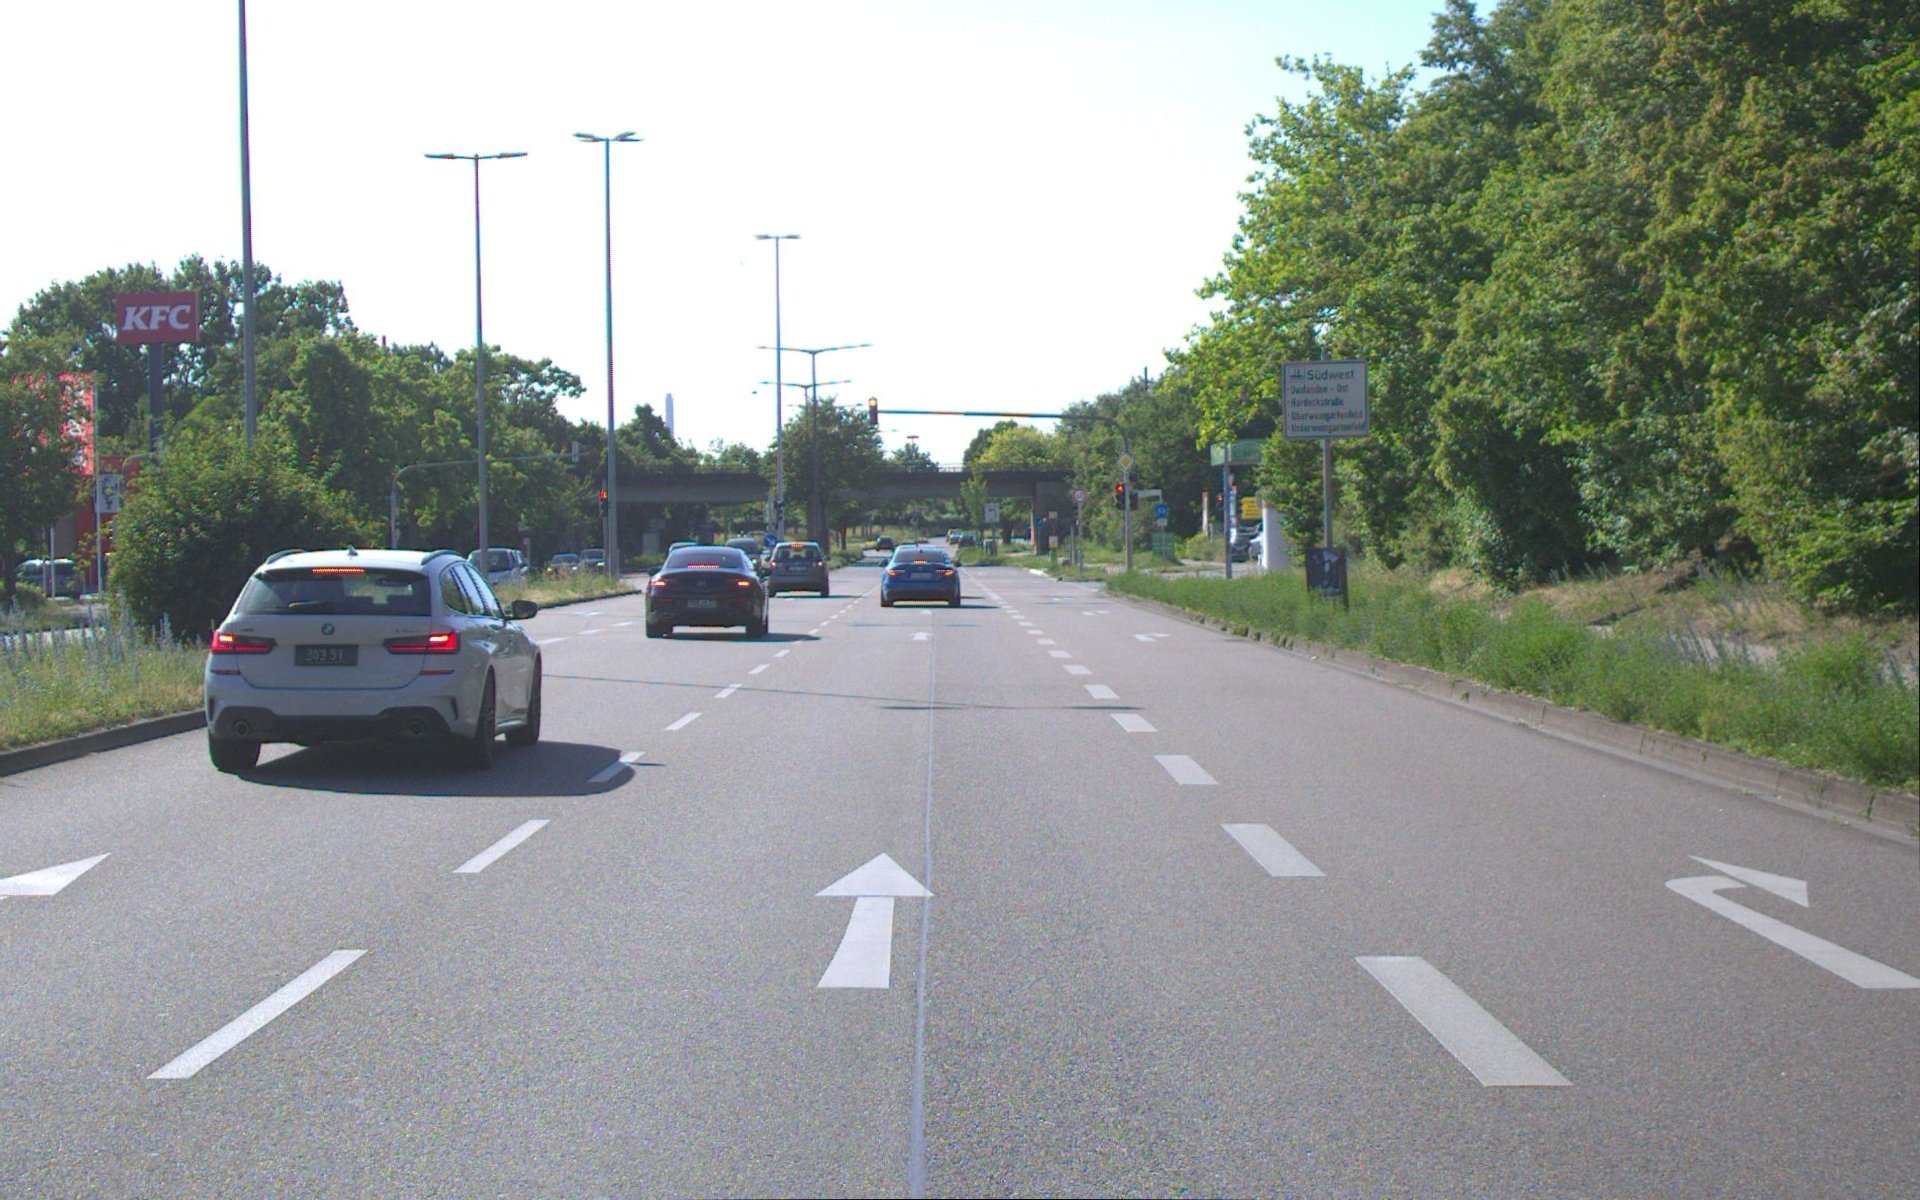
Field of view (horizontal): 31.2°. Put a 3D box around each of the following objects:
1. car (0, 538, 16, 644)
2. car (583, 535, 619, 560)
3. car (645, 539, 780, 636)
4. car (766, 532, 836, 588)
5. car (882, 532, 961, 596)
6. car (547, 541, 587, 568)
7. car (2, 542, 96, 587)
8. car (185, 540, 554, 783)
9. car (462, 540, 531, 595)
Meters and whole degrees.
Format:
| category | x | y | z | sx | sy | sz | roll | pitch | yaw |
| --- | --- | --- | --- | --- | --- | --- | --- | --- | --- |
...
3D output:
| category | x | y | z | sx | sy | sz | roll | pitch | yaw |
| --- | --- | --- | --- | --- | --- | --- | --- | --- | --- |
| car | -17.209 | -0.062 | 56.931 | 1.739 | 1.796 | 4.672 | -4 | 1 | 0 |
| car | -20.699 | -3.010 | 198.306 | 1.703 | 1.397 | 3.723 | -1 | 1 | 0 |
| car | -3.957 | -0.239 | 55.495 | 1.861 | 1.450 | 4.548 | -1 | 1 | 0 |
| car | -4.598 | -1.167 | 99.813 | 1.861 | 1.560 | 4.548 | -1 | 1 | 0 |
| car | -0.933 | -0.893 | 83.395 | 1.861 | 1.494 | 4.337 | -1 | 1 | 0 |
| car | -21.022 | -2.449 | 184.056 | 1.703 | 1.397 | 3.723 | -1 | 1 | 0 |
| car | -37.025 | -1.444 | 139.646 | 1.922 | 1.777 | 4.084 | -2 | 2 | -44 |
| car | -3.979 | 0.347 | 23.888 | 1.861 | 1.450 | 4.548 | 1 | 2 | -1 |
| car | -13.196 | -0.947 | 97.915 | 1.493 | 1.503 | 3.487 | -1 | 1 | 0 |
